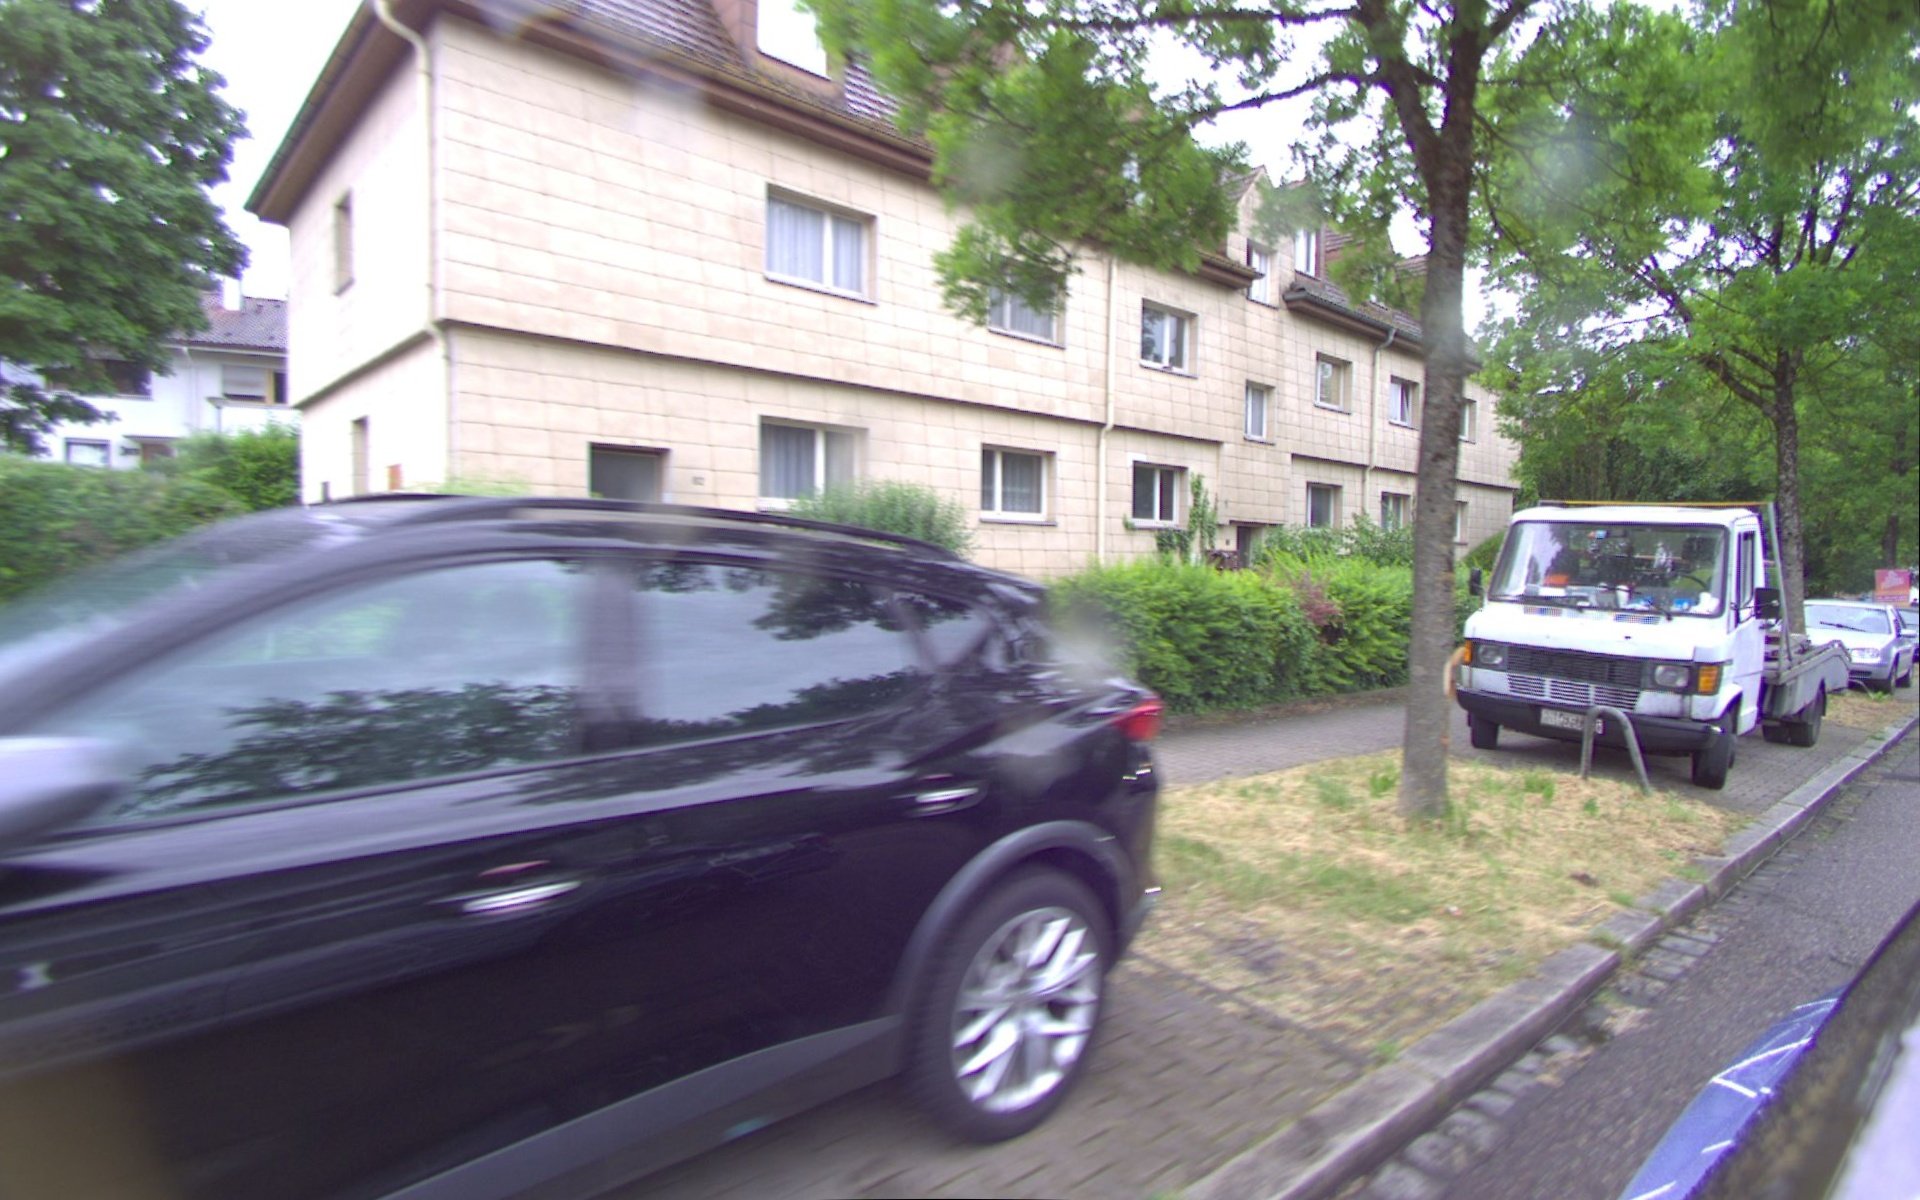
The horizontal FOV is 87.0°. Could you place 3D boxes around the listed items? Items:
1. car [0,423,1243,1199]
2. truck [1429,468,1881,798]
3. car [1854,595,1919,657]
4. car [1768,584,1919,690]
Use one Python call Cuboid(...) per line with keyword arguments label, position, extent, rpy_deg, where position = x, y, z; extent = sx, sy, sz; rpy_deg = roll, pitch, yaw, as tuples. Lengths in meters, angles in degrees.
Cuboid(label="car", position=(-1.304, 0.478, 2.242), extent=(4.111, 1.516, 1.718), rpy_deg=(0, 4, -42))
Cuboid(label="truck", position=(7.032, 0.145, 9.807), extent=(6.390, 2.248, 2.084), rpy_deg=(0, 5, -43))
Cuboid(label="car", position=(24.707, 0.650, 26.281), extent=(4.423, 1.406, 1.691), rpy_deg=(0, 4, -43))
Cuboid(label="car", position=(15.088, 0.582, 16.983), extent=(3.951, 1.453, 1.605), rpy_deg=(2, 4, -41))
